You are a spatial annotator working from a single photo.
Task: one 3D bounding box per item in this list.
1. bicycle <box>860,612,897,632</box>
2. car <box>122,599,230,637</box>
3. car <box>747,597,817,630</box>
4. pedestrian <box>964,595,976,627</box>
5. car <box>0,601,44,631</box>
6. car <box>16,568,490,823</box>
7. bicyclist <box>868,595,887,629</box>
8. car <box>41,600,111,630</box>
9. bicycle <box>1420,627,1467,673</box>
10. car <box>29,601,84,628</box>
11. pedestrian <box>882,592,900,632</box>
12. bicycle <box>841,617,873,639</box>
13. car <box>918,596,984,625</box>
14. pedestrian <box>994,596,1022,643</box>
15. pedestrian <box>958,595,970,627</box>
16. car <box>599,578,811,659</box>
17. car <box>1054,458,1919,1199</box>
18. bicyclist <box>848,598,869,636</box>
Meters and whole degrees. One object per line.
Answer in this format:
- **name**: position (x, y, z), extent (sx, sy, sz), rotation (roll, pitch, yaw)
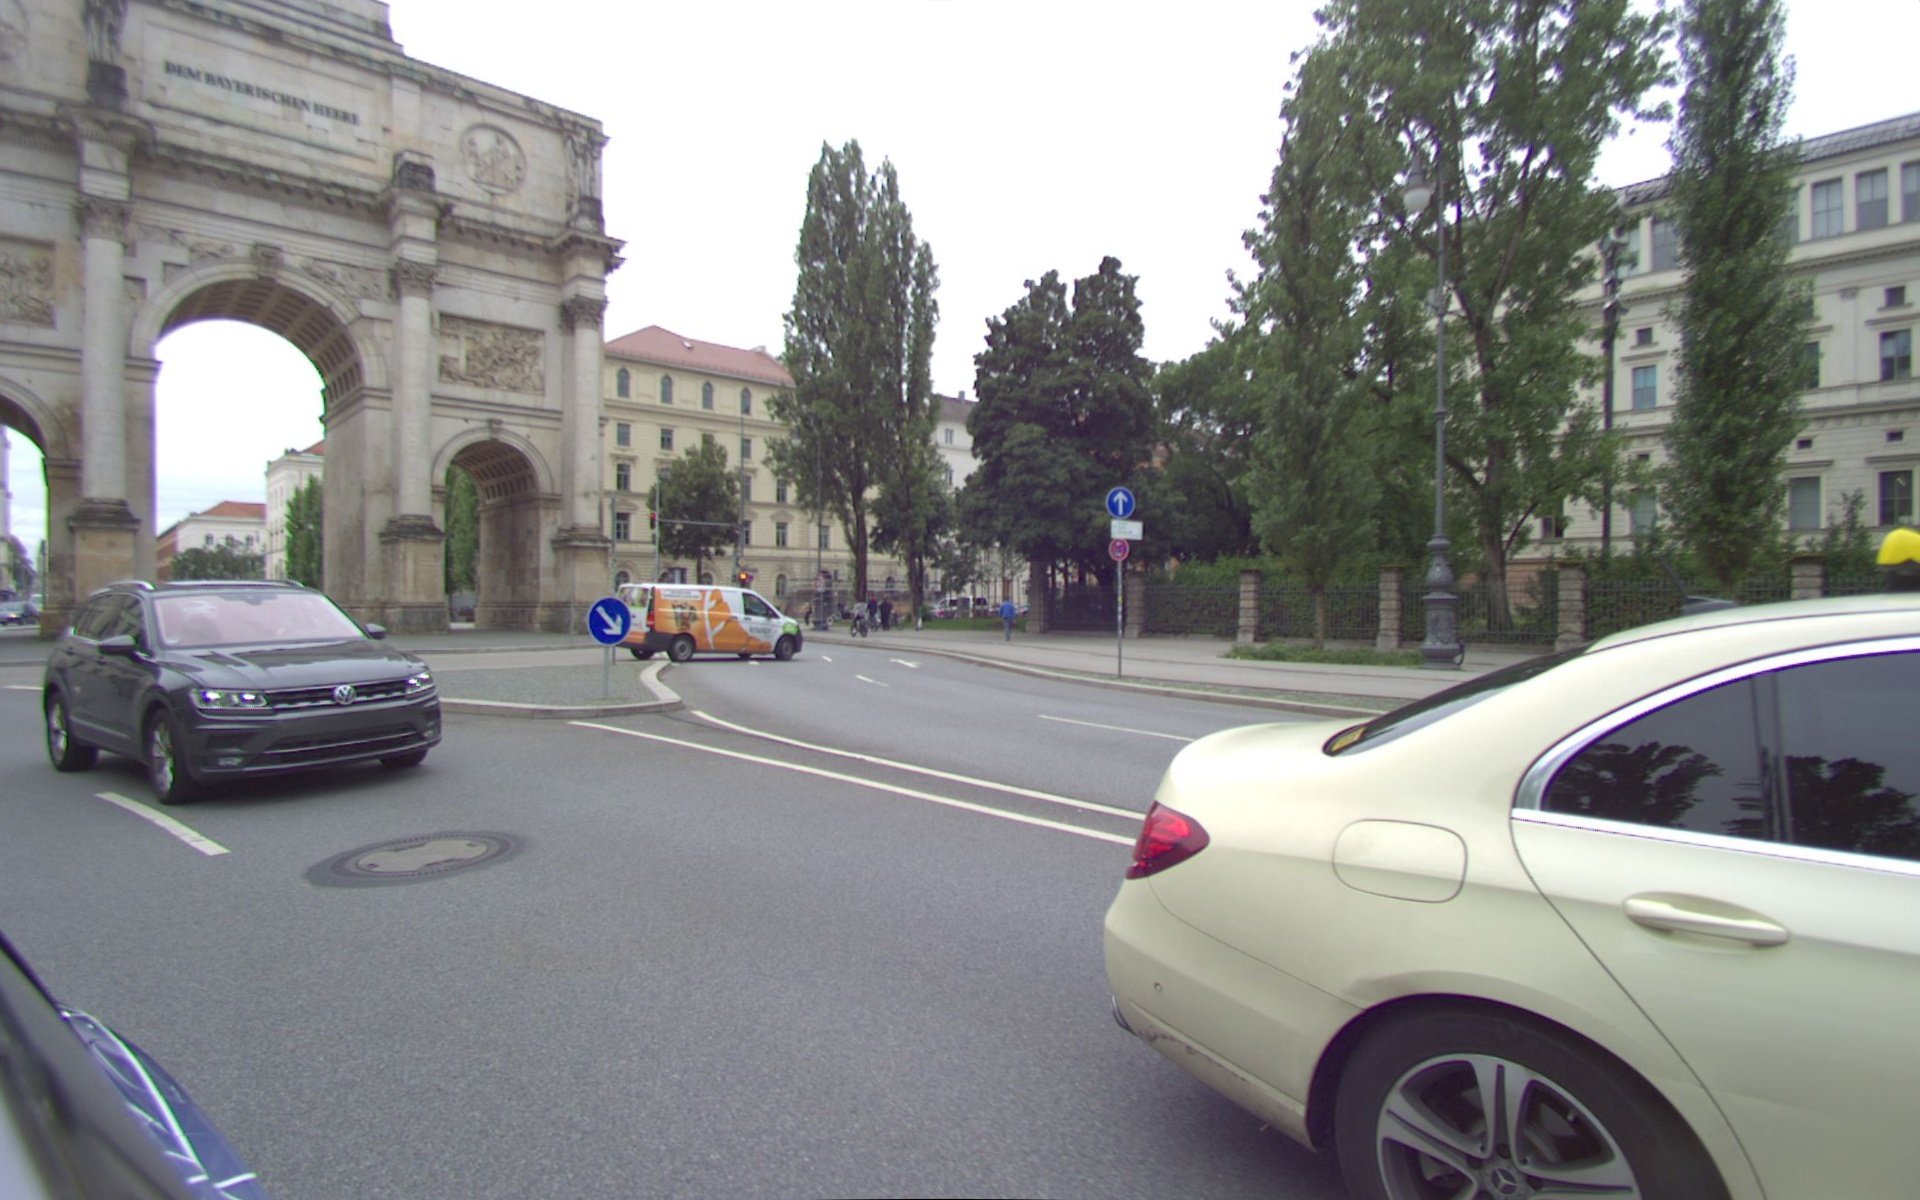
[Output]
- **bicycle**: position (-4.107, 1.096, 51.054), extent (1.739, 0.981, 0.643), rotation (0, -1, 5)
- **car**: position (-40.518, 0.875, 52.354), extent (1.892, 1.871, 4.249), rotation (0, 0, 45)
- **car**: position (-11.263, 0.845, 64.028), extent (3.939, 2.029, 2.002), rotation (0, 0, -42)
- **pedestrian**: position (0.647, 0.692, 65.140), extent (0.593, 2.029, 0.527), rotation (0, -1, 38)
- **car**: position (-57.709, 0.950, 61.496), extent (1.757, 1.763, 4.335), rotation (0, 0, -23)
- **car**: position (-6.136, 0.600, 8.627), extent (4.402, 1.636, 1.931), rotation (0, 2, 36)
- **bicyclist**: position (-4.165, 0.598, 51.075), extent (0.849, 1.722, 0.642), rotation (0, -1, 6)
- **car**: position (-54.006, 0.922, 61.901), extent (1.757, 1.763, 4.334), rotation (0, 0, -20)
- **bicycle**: position (12.168, 1.243, 25.522), extent (0.629, 1.072, 1.733), rotation (0, 0, 10)
- **car**: position (-60.642, 0.955, 67.984), extent (1.757, 1.763, 4.334), rotation (0, 0, -28)
- **pedestrian**: position (-3.539, 0.601, 51.836), extent (0.749, 2.029, 0.791), rotation (0, 0, 13)
- **bicycle**: position (-4.746, 1.285, 46.479), extent (0.633, 0.981, 1.765), rotation (0, -1, -37)
- **car**: position (-0.620, 0.739, 72.468), extent (4.444, 2.029, 2.004), rotation (0, -1, -39)
- **pedestrian**: position (1.837, 0.743, 38.824), extent (0.741, 1.799, 0.918), rotation (0, -1, -26)
- **pedestrian**: position (0.243, 0.697, 64.724), extent (0.593, 2.029, 0.527), rotation (0, -1, 38)
- **car**: position (-6.365, 0.467, 25.721), extent (2.006, 1.869, 4.919), rotation (1, -1, 43)
- **car**: position (2.603, 0.562, 1.614), extent (4.688, 1.586, 1.894), rotation (0, 2, 42)
- **bicyclist**: position (-4.646, 0.792, 46.337), extent (0.633, 1.722, 0.862), rotation (0, -1, -37)
